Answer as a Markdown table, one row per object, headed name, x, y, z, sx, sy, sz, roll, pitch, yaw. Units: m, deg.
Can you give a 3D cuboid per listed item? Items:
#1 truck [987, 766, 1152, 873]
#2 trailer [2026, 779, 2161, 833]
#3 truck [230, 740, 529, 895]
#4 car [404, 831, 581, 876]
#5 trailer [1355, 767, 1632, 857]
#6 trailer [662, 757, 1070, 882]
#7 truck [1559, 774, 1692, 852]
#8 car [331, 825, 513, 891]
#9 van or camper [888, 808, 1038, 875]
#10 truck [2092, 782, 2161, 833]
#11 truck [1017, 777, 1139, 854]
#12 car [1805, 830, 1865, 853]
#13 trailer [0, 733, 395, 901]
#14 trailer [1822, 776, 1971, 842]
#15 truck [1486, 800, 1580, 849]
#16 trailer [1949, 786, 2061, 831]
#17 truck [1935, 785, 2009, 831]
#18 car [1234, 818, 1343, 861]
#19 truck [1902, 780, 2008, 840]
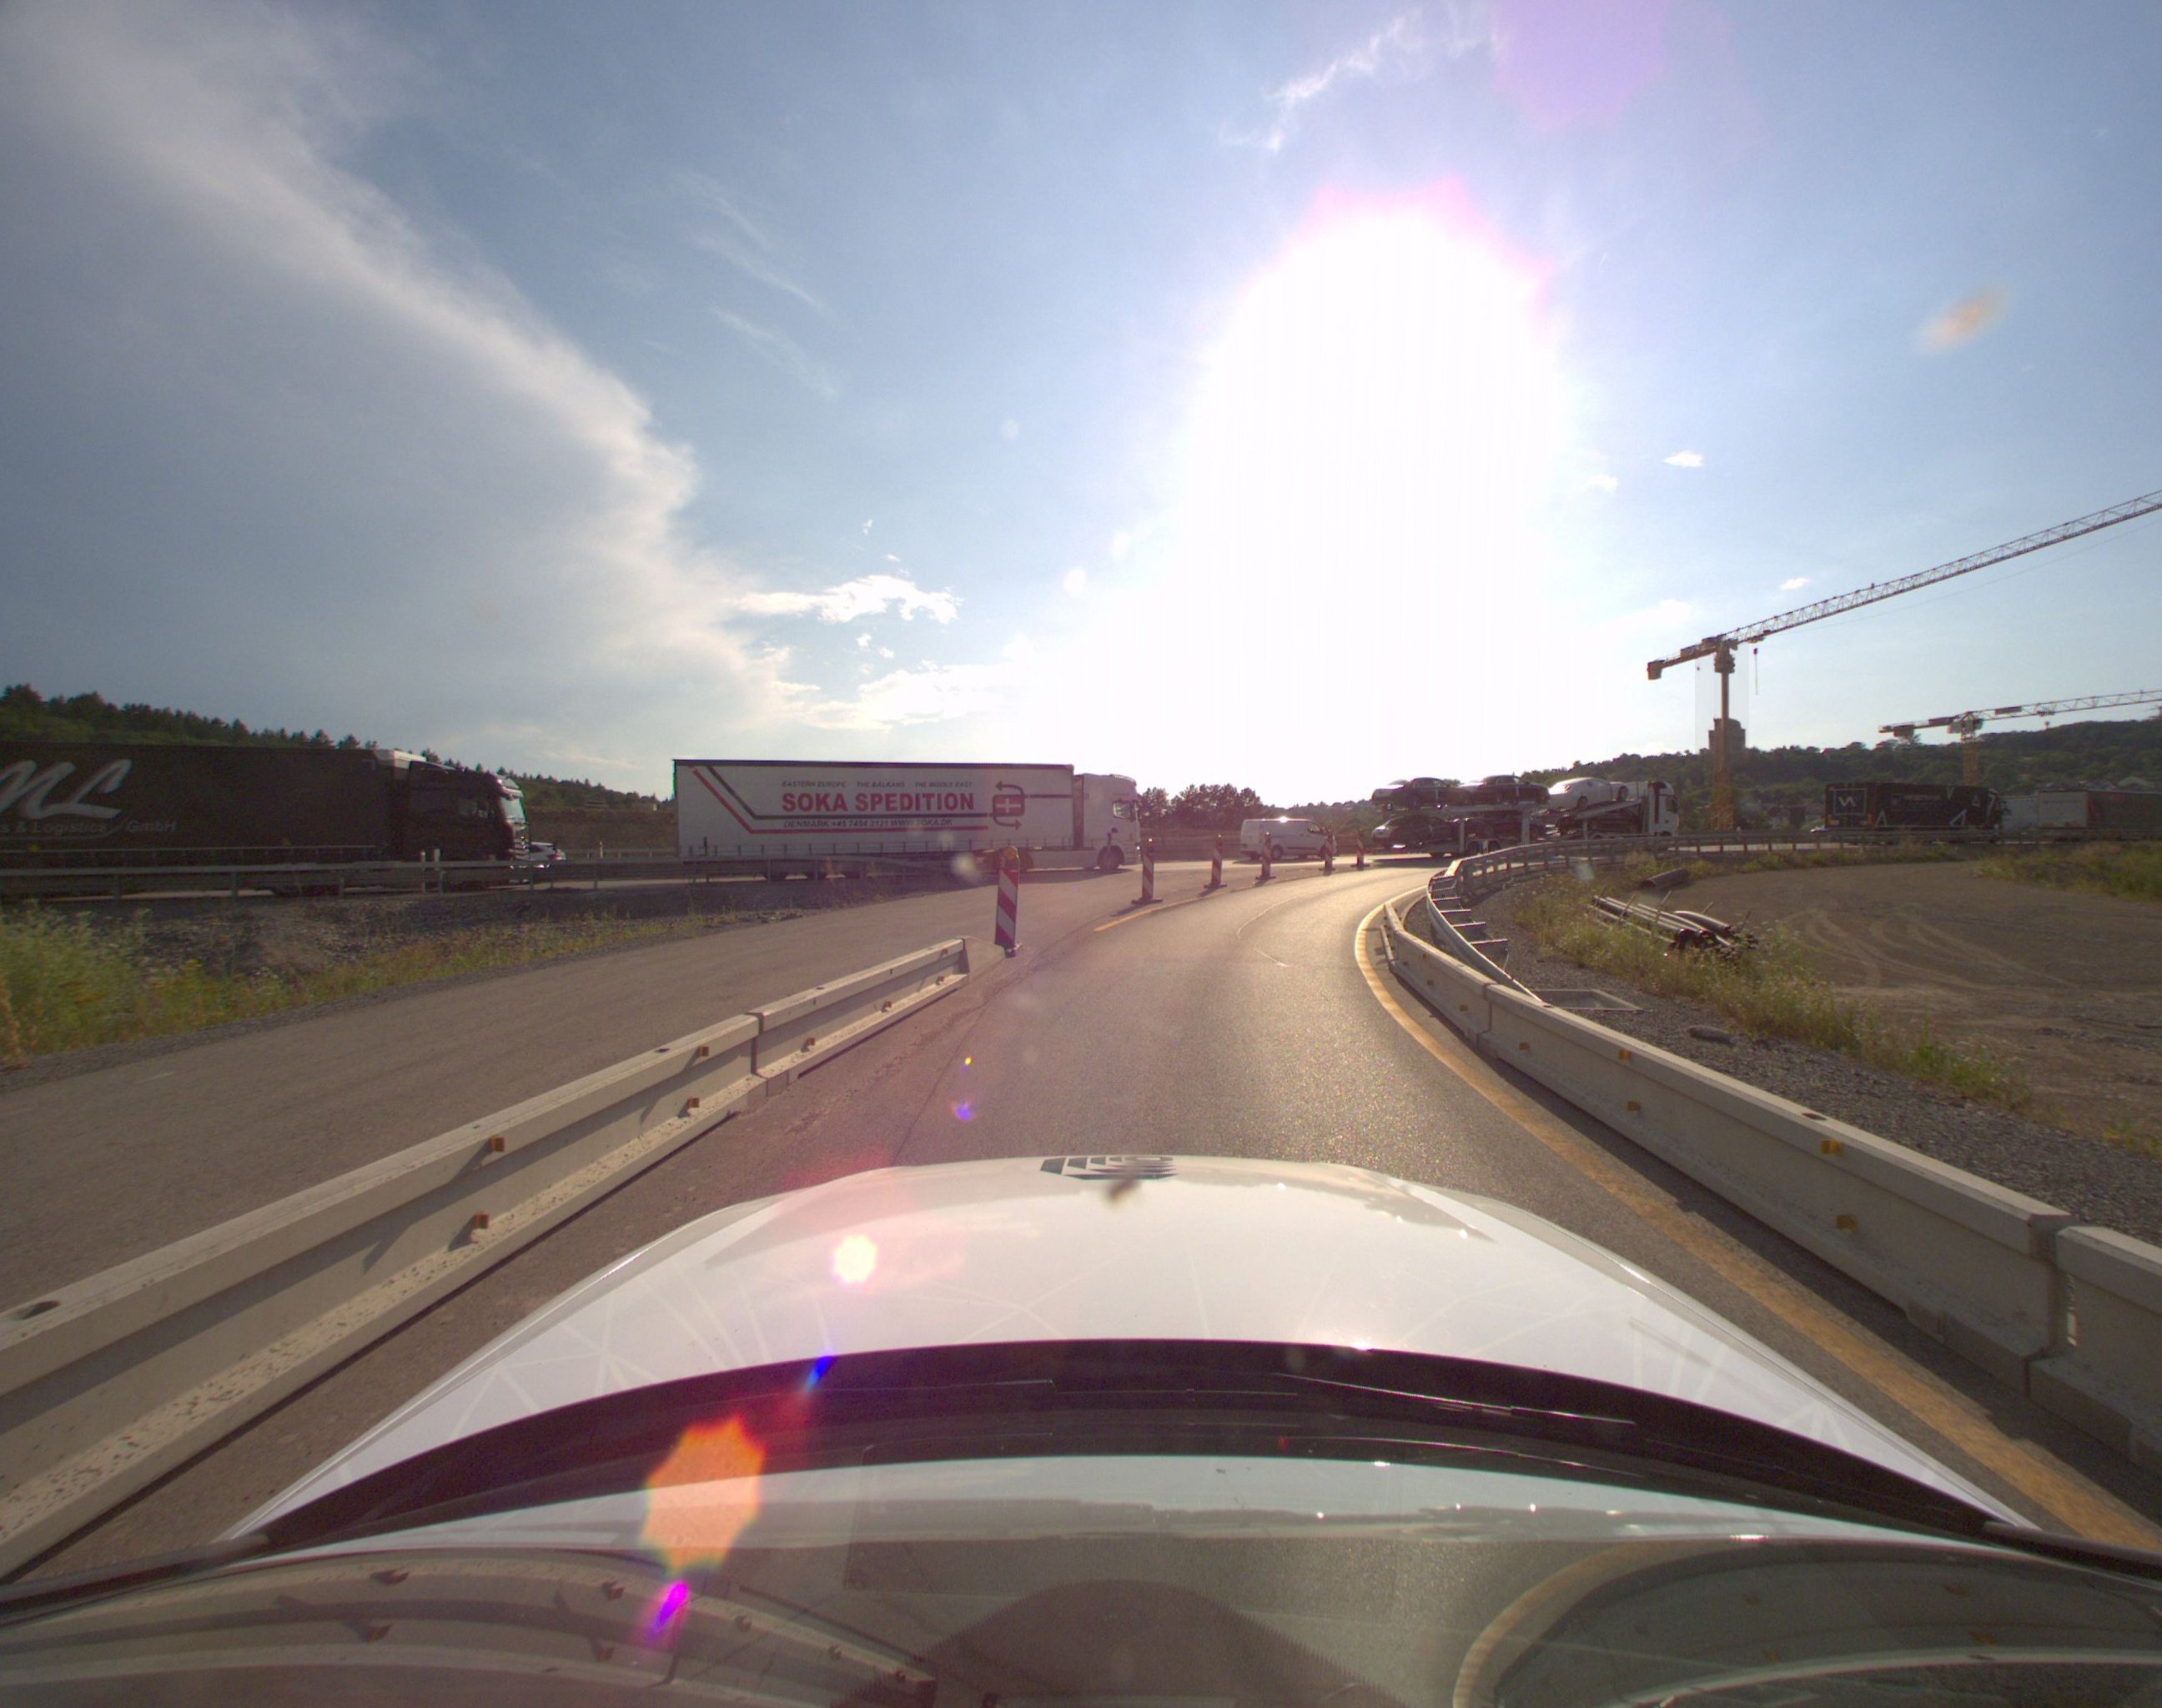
| name | x | y | z | sx | sy | sz | roll | pitch | yaw |
| --- | --- | --- | --- | --- | --- | --- | --- | --- | --- |
| truck | -0.453 | -1.311 | 32.004 | 6.017 | 3.878 | 2.470 | -1 | 0 | -23 |
| trailer | 82.169 | -3.730 | 65.698 | 14.757 | 3.996 | 3.371 | -1 | 0 | -23 |
| truck | -19.943 | -1.011 | 23.647 | 6.016 | 4.060 | 2.470 | -1 | 0 | -23 |
| car | -21.918 | -0.057 | 30.615 | 4.982 | 1.500 | 2.021 | -1 | 2 | -22 |
| trailer | 20.954 | -1.997 | 40.832 | 15.759 | 3.996 | 2.845 | -1 | 0 | -23 |
| trailer | -7.190 | -1.164 | 29.130 | 13.643 | 3.878 | 2.470 | -1 | 0 | -23 |
| truck | 29.756 | -2.172 | 44.524 | 6.630 | 3.996 | 2.837 | -1 | 0 | -23 |
| car | -21.311 | 0.099 | 26.555 | 4.336 | 2.014 | 1.515 | -1 | -1 | -23 |
| van or camper | -4.922 | -0.555 | 34.062 | 5.908 | 2.619 | 1.986 | -1 | 1 | -22 |
| truck | 89.267 | -3.841 | 68.665 | 6.630 | 3.996 | 3.329 | -1 | 0 | -23 |
| truck | -0.202 | -1.956 | 42.864 | 5.692 | 3.727 | 2.984 | -1 | -1 | -22 |
| car | 55.720 | -0.937 | 60.199 | 4.006 | 1.654 | 1.821 | -1 | -1 | -24 |
| trailer | -26.639 | -0.898 | 20.881 | 13.642 | 4.061 | 2.470 | -1 | 0 | -23 |
| trailer | 54.579 | -2.930 | 54.435 | 10.798 | 4.092 | 2.947 | -1 | -1 | -21 |
| truck | 30.295 | -1.969 | 54.638 | 5.682 | 3.134 | 2.135 | -1 | -1 | -17 |
| trailer | 90.106 | -4.361 | 79.341 | 14.088 | 4.066 | 2.617 | -1 | -1 | -22 |
| truck | 84.196 | -4.318 | 76.949 | 6.133 | 4.066 | 2.617 | -1 | -1 | -22 |
| car | 10.214 | -0.739 | 40.104 | 4.982 | 1.980 | 2.021 | -1 | 2 | -22 |
| truck | 61.243 | -3.029 | 57.073 | 6.627 | 3.996 | 2.874 | -1 | 0 | -21 |
